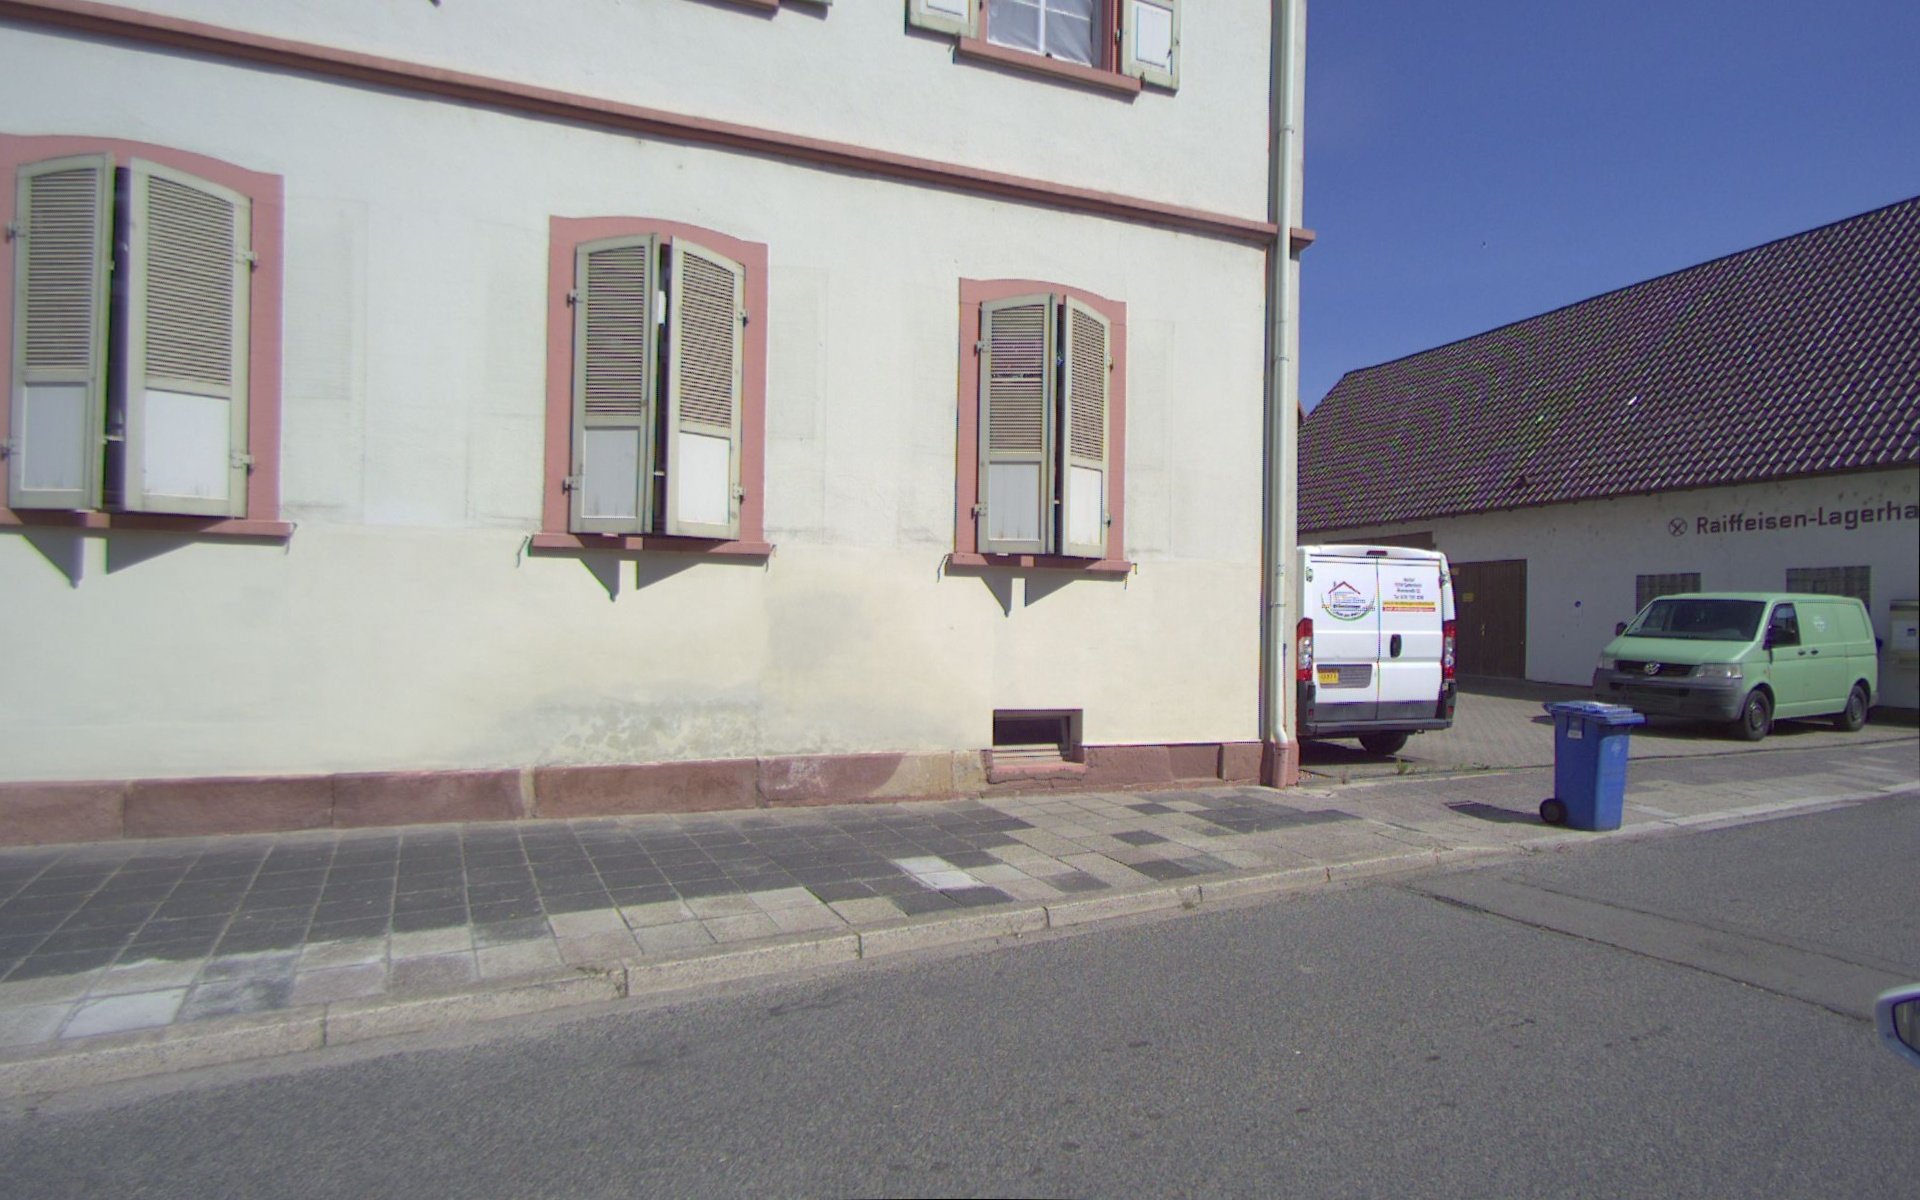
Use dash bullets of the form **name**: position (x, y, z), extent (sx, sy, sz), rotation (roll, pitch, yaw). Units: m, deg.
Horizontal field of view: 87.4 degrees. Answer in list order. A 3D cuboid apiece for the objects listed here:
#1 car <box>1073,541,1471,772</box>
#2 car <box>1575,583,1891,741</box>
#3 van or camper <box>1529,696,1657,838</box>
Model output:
- **car**: position (3.460, 0.573, 12.490), extent (2.089, 2.226, 5.171), rotation (1, 0, -19)
- **car**: position (11.365, 0.845, 14.711), extent (4.611, 1.990, 1.985), rotation (1, -1, -29)
- **van or camper**: position (4.795, 1.239, 7.626), extent (0.592, 0.964, 0.588), rotation (1, 0, -24)
